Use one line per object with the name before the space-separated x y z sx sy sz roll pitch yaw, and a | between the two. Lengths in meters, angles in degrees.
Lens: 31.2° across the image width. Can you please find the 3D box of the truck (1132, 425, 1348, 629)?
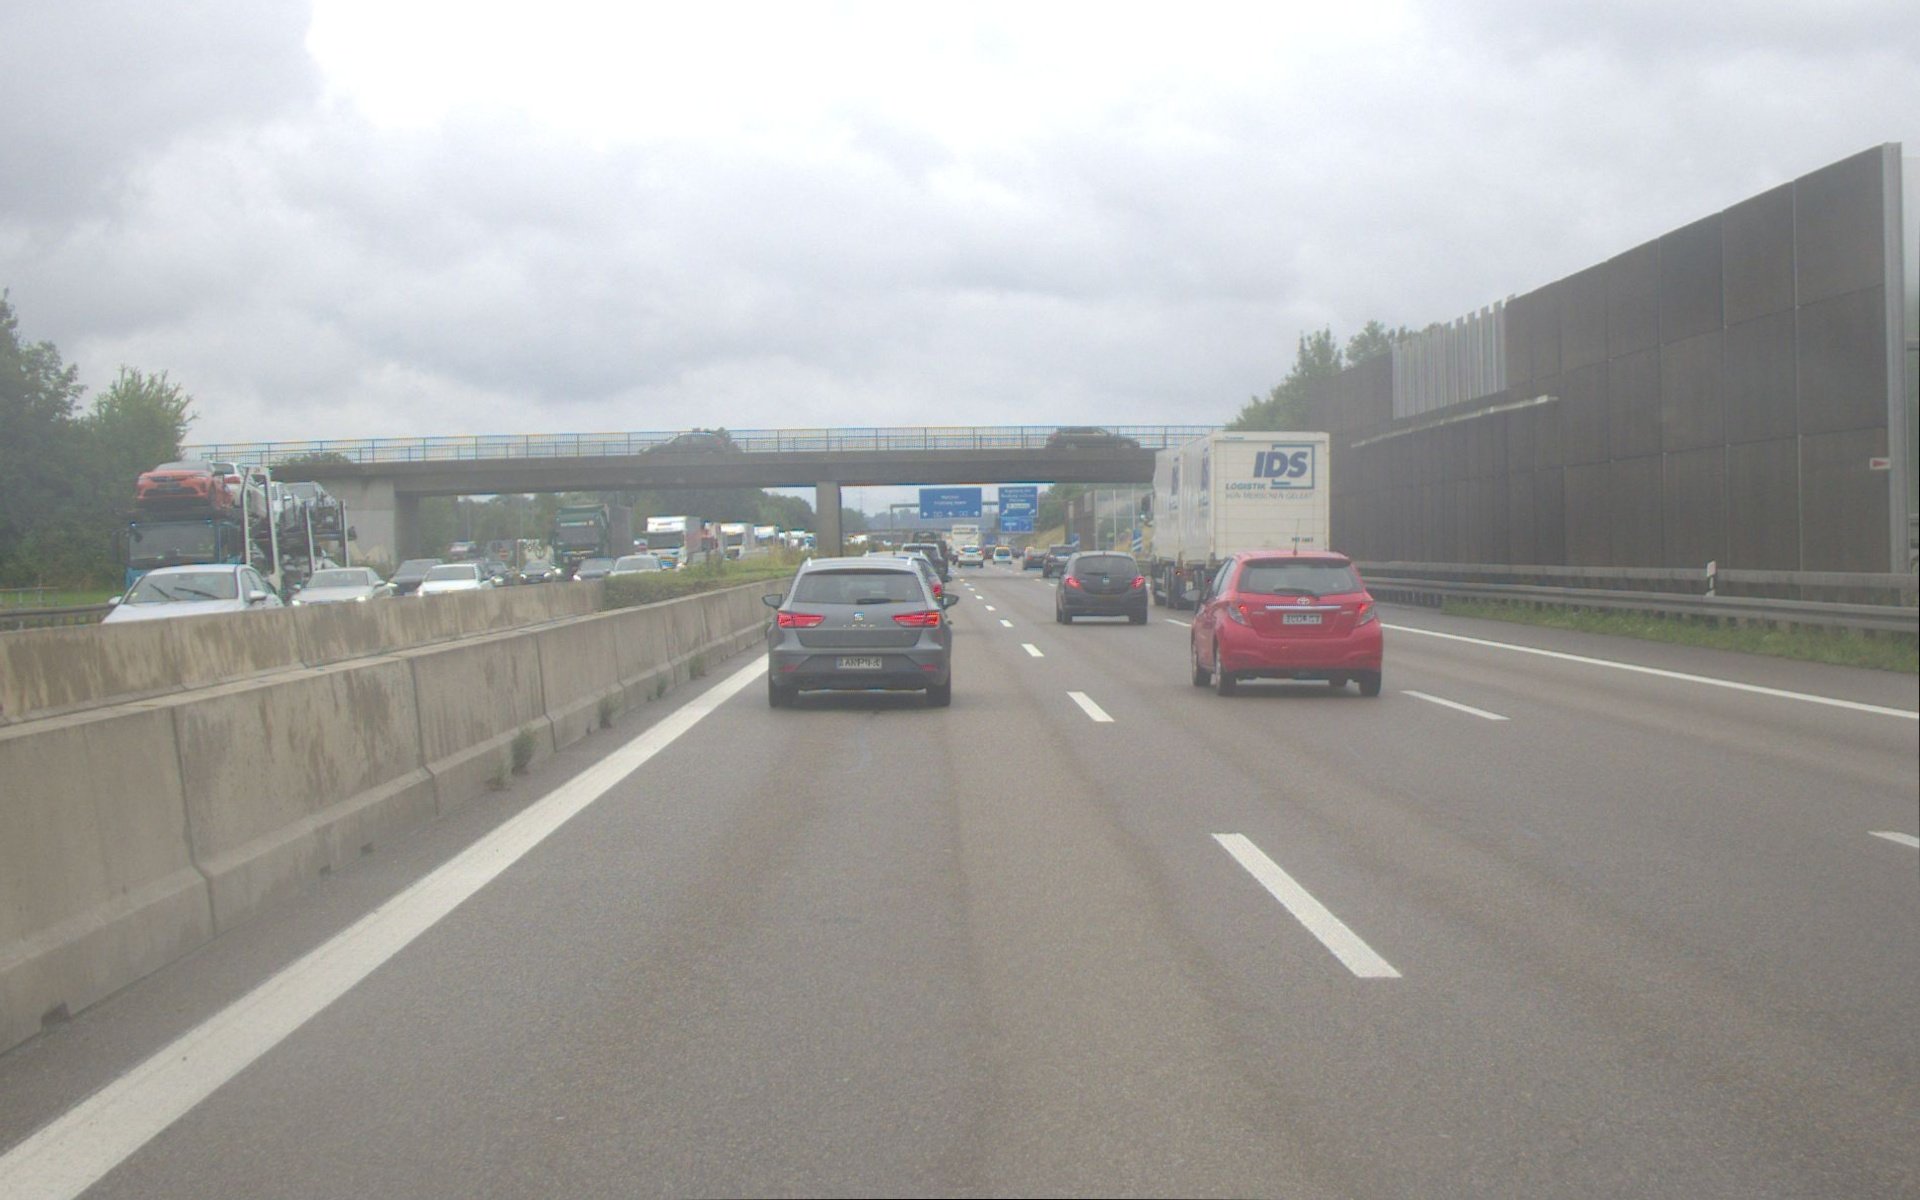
truck | 6.442 -1.628 82.692 3.283 4.280 19.034 1 0 -1

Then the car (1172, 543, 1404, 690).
car | 3.403 0.125 36.486 1.891 1.442 4.685 0 1 -2

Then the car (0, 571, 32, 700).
car | -13.825 0.502 45.083 2.061 1.704 4.800 0 1 -1

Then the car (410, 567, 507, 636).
car | -14.021 0.021 96.410 1.993 1.873 5.032 1 0 0

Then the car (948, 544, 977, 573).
car | 0.198 -2.958 245.142 1.993 2.007 4.242 1 0 0

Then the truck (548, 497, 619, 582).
truck | -18.410 -2.924 168.438 2.757 4.036 6.255 1 0 0

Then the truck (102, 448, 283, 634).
truck | -18.234 -1.373 82.086 2.956 4.227 6.235 1 0 -1

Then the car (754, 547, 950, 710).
car | -1.027 0.245 33.430 1.768 1.462 4.000 1 0 -1

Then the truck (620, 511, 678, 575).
truck | -20.258 -3.691 224.262 3.272 4.031 5.293 1 0 0

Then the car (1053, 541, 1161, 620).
car | 2.914 -0.417 69.139 1.921 1.516 4.622 0 1 -1

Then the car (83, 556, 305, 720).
car | -9.581 0.435 43.330 1.883 1.918 4.174 -1 1 -1

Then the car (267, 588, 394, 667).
car | -14.497 0.602 79.436 2.093 1.704 5.166 0 1 -2

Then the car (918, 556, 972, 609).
car | -0.556 -0.629 120.676 1.704 1.790 3.855 -2 1 -2

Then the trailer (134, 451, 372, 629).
trailer | -18.301 -1.494 90.310 2.998 4.227 15.708 1 0 0

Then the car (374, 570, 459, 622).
car | -18.656 -0.148 118.190 2.093 1.704 4.962 0 1 1

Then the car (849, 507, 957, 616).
car | -1.002 -0.692 61.363 1.825 1.844 4.000 -1 1 -1

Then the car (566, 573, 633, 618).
car | -14.273 -0.208 136.363 2.093 1.704 4.800 0 1 1

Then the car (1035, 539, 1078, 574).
car | 4.713 -2.128 168.540 1.845 1.681 4.000 1 0 -1

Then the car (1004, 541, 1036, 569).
car | 3.914 -2.949 224.647 1.993 1.806 4.228 -2 1 0
